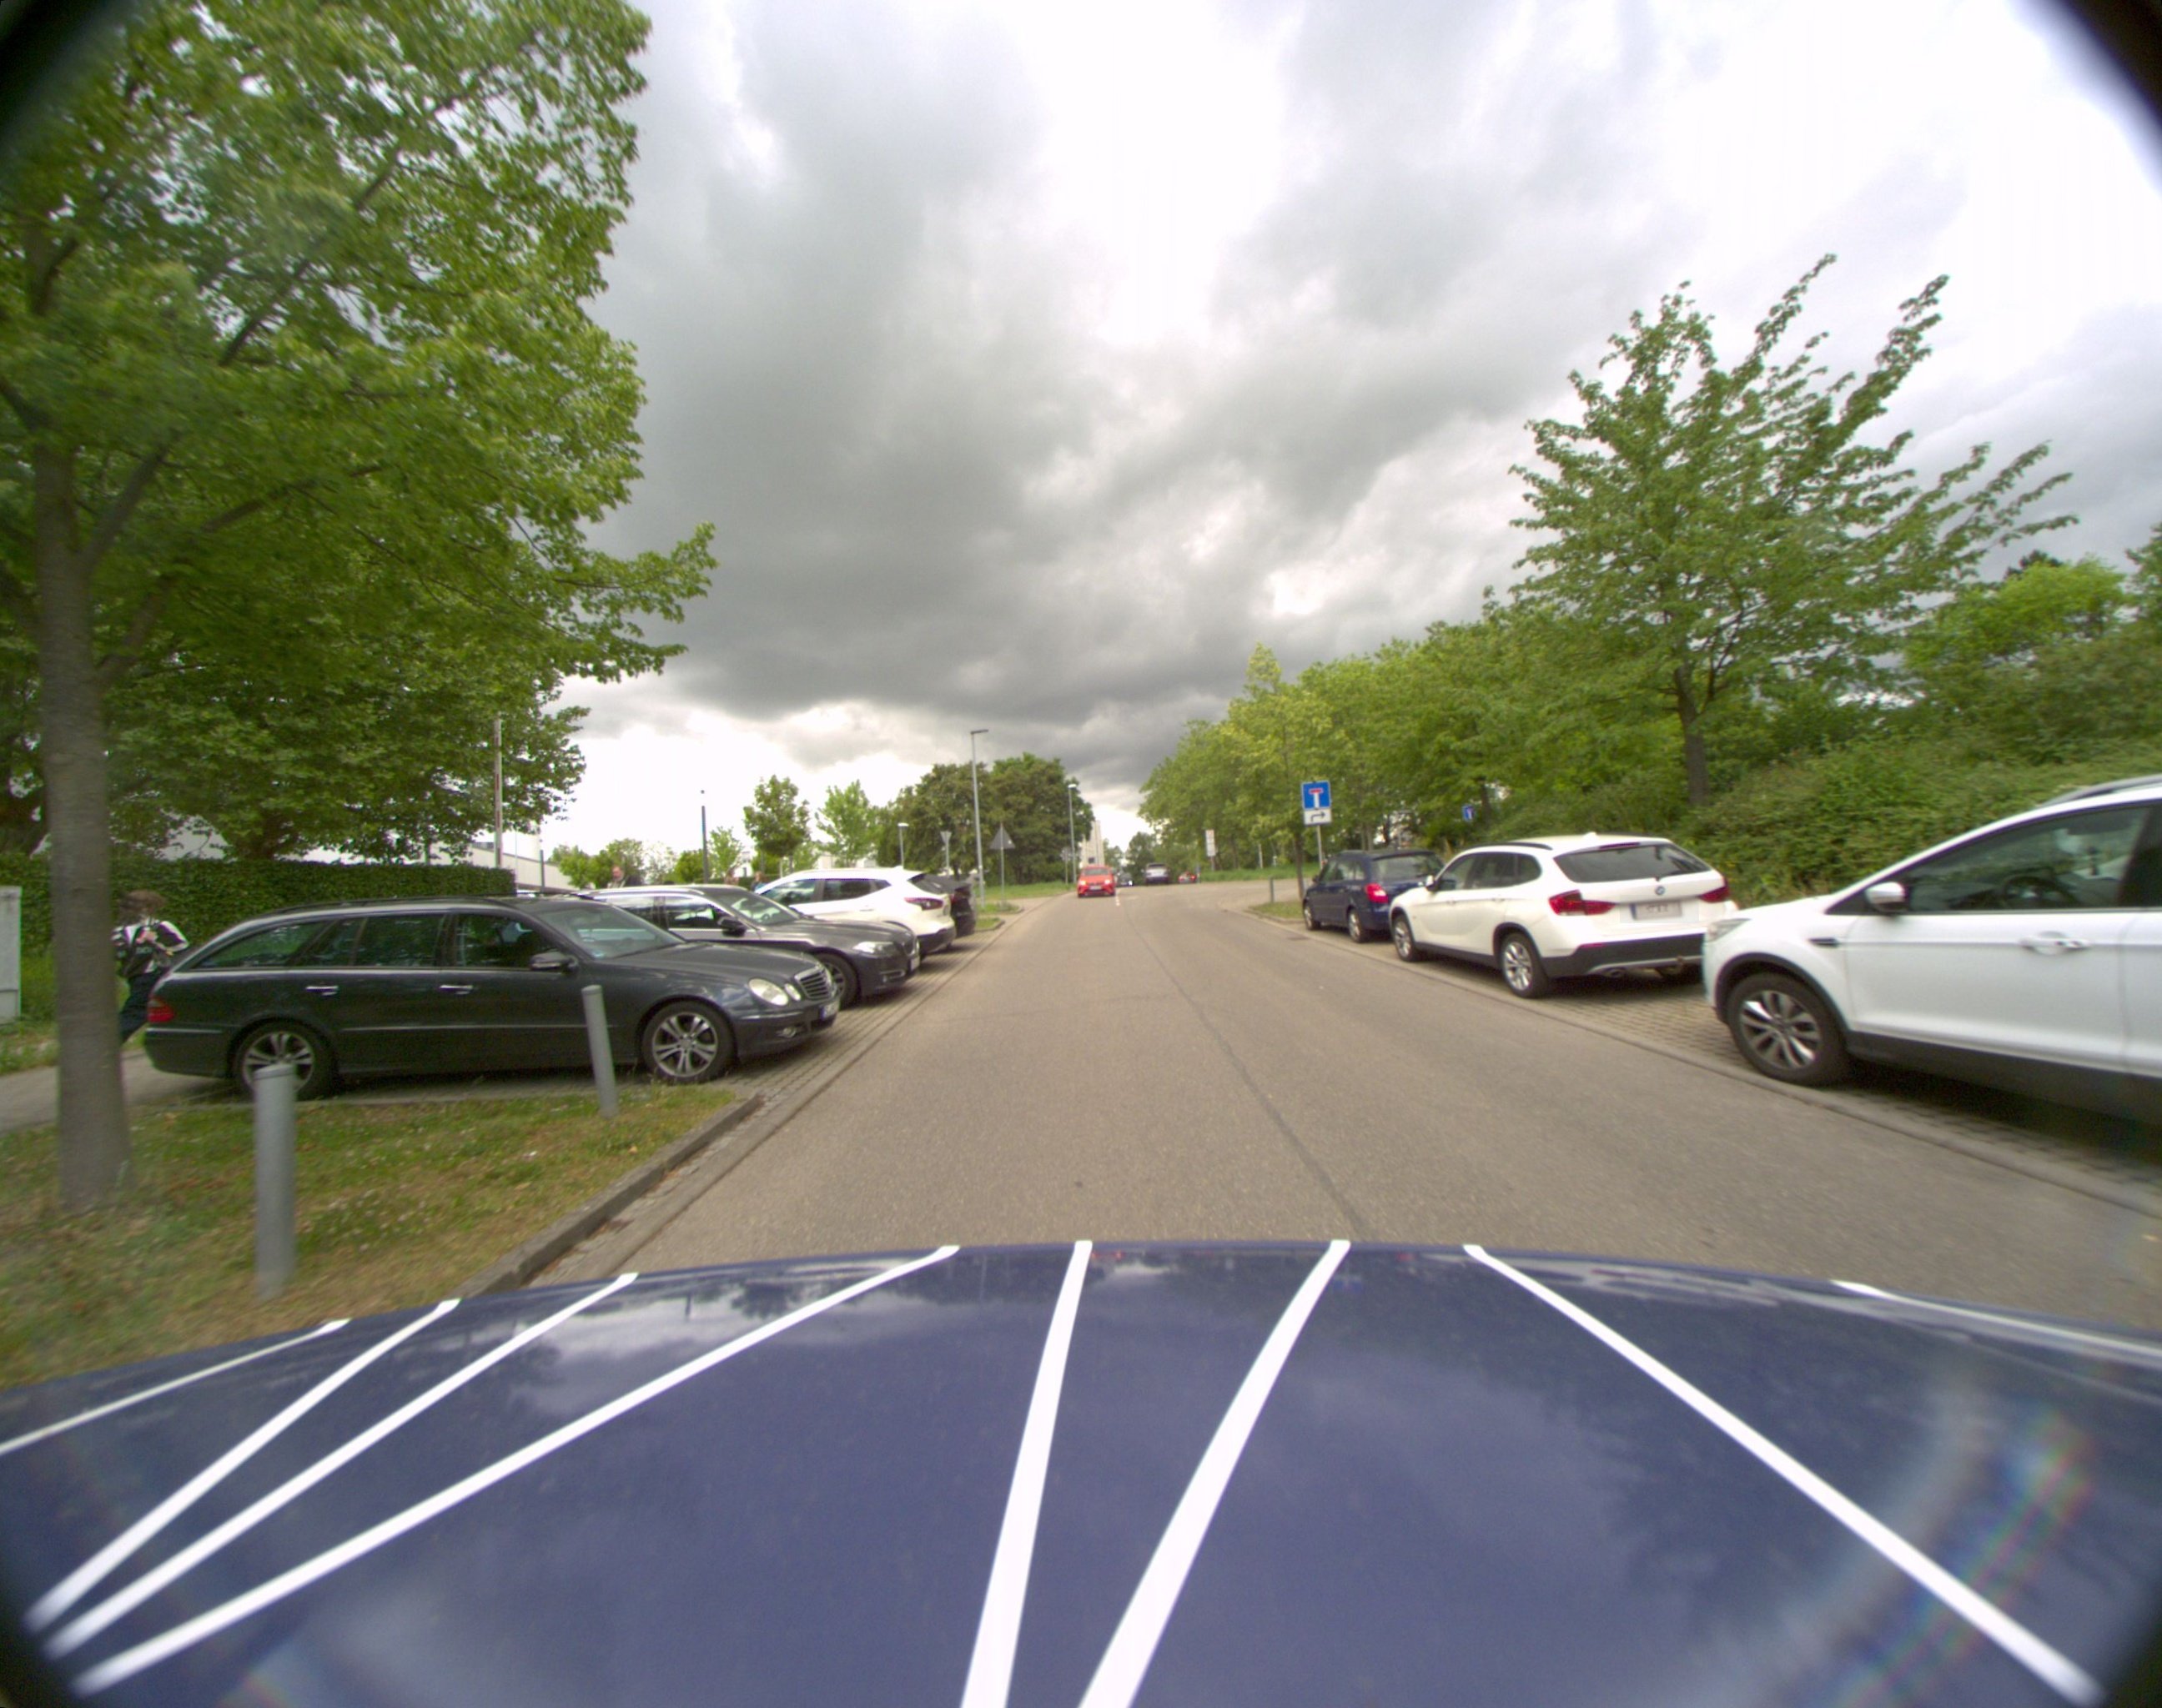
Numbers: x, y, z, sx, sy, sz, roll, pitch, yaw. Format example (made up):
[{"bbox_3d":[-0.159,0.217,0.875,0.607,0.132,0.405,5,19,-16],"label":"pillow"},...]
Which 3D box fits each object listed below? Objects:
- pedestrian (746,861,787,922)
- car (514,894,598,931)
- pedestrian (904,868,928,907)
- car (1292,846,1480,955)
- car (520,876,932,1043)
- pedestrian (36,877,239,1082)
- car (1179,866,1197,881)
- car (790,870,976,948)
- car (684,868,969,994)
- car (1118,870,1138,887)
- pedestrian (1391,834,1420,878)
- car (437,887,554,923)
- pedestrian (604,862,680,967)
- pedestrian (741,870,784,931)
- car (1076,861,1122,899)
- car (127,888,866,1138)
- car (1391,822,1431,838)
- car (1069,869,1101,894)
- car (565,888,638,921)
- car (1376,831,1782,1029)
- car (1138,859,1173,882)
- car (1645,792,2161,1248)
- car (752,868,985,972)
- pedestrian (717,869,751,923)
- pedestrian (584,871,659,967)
[{"bbox_3d":[-7.872,0.924,19.032,0.620,1.459,0.736,-4,-1,1],"label":"pedestrian"},{"bbox_3d":[-33.351,3.668,48.403,4.004,2.001,1.997,-3,-1,-25],"label":"car"},{"bbox_3d":[-7.658,1.546,35.232,0.764,1.712,0.885,-3,-1,-28],"label":"pedestrian"},{"bbox_3d":[5.160,0.737,13.483,1.694,1.478,3.954,-6,-1,1],"label":"car"},{"bbox_3d":[-4.032,1.174,9.187,3.997,1.510,1.884,-4,0,0],"label":"car"},{"bbox_3d":[-8.937,1.135,7.242,0.741,1.782,0.878,-4,-1,1],"label":"pedestrian"},{"bbox_3d":[12.043,2.225,85.992,1.758,1.506,4.002,-4,-1,6],"label":"car"},{"bbox_3d":[-4.398,1.200,17.200,3.678,1.489,1.646,-3,-1,3],"label":"car"},{"bbox_3d":[-3.758,1.119,11.692,3.678,1.637,1.852,-2,-1,3],"label":"car"},{"bbox_3d":[4.773,2.502,77.130,1.758,1.506,4.002,-4,-1,6],"label":"car"},{"bbox_3d":[12.458,0.095,29.178,0.634,1.600,0.720,-4,-3,-7],"label":"pedestrian"},{"bbox_3d":[-28.370,2.448,36.971,4.122,1.382,1.707,-3,-1,-20],"label":"car"},{"bbox_3d":[-7.893,1.064,13.705,0.741,1.782,0.878,-4,-1,1],"label":"pedestrian"},{"bbox_3d":[-8.910,1.286,21.288,0.689,1.611,0.932,-4,-1,1],"label":"pedestrian"},{"bbox_3d":[0.886,1.168,35.256,1.758,1.506,4.001,-4,0,6],"label":"car"},{"bbox_3d":[-4.401,1.166,6.388,4.587,1.483,1.951,-2,0,-2],"label":"car"},{"bbox_3d":[36.029,-2.650,82.978,4.004,1.455,1.652,-3,-1,-24],"label":"car"},{"bbox_3d":[0.312,1.849,51.609,1.758,1.506,4.002,-4,-1,6],"label":"car"},{"bbox_3d":[-33.757,3.531,53.624,4.004,2.001,1.997,-3,-1,-25],"label":"car"},{"bbox_3d":[5.020,0.683,8.536,1.694,1.502,4.231,-6,-1,1],"label":"car"},{"bbox_3d":[5.367,1.194,55.135,1.901,1.573,4.167,1,-1,-3],"label":"car"},{"bbox_3d":[4.911,0.575,3.088,1.811,1.654,4.437,-6,-1,1],"label":"car"},{"bbox_3d":[-3.765,1.155,13.858,3.678,1.565,1.593,-3,1,3],"label":"car"},{"bbox_3d":[-11.454,1.384,25.106,0.655,1.701,0.706,-4,-1,7],"label":"pedestrian"},{"bbox_3d":[-9.027,1.249,14.958,0.833,1.782,0.878,-4,-1,1],"label":"pedestrian"}]
